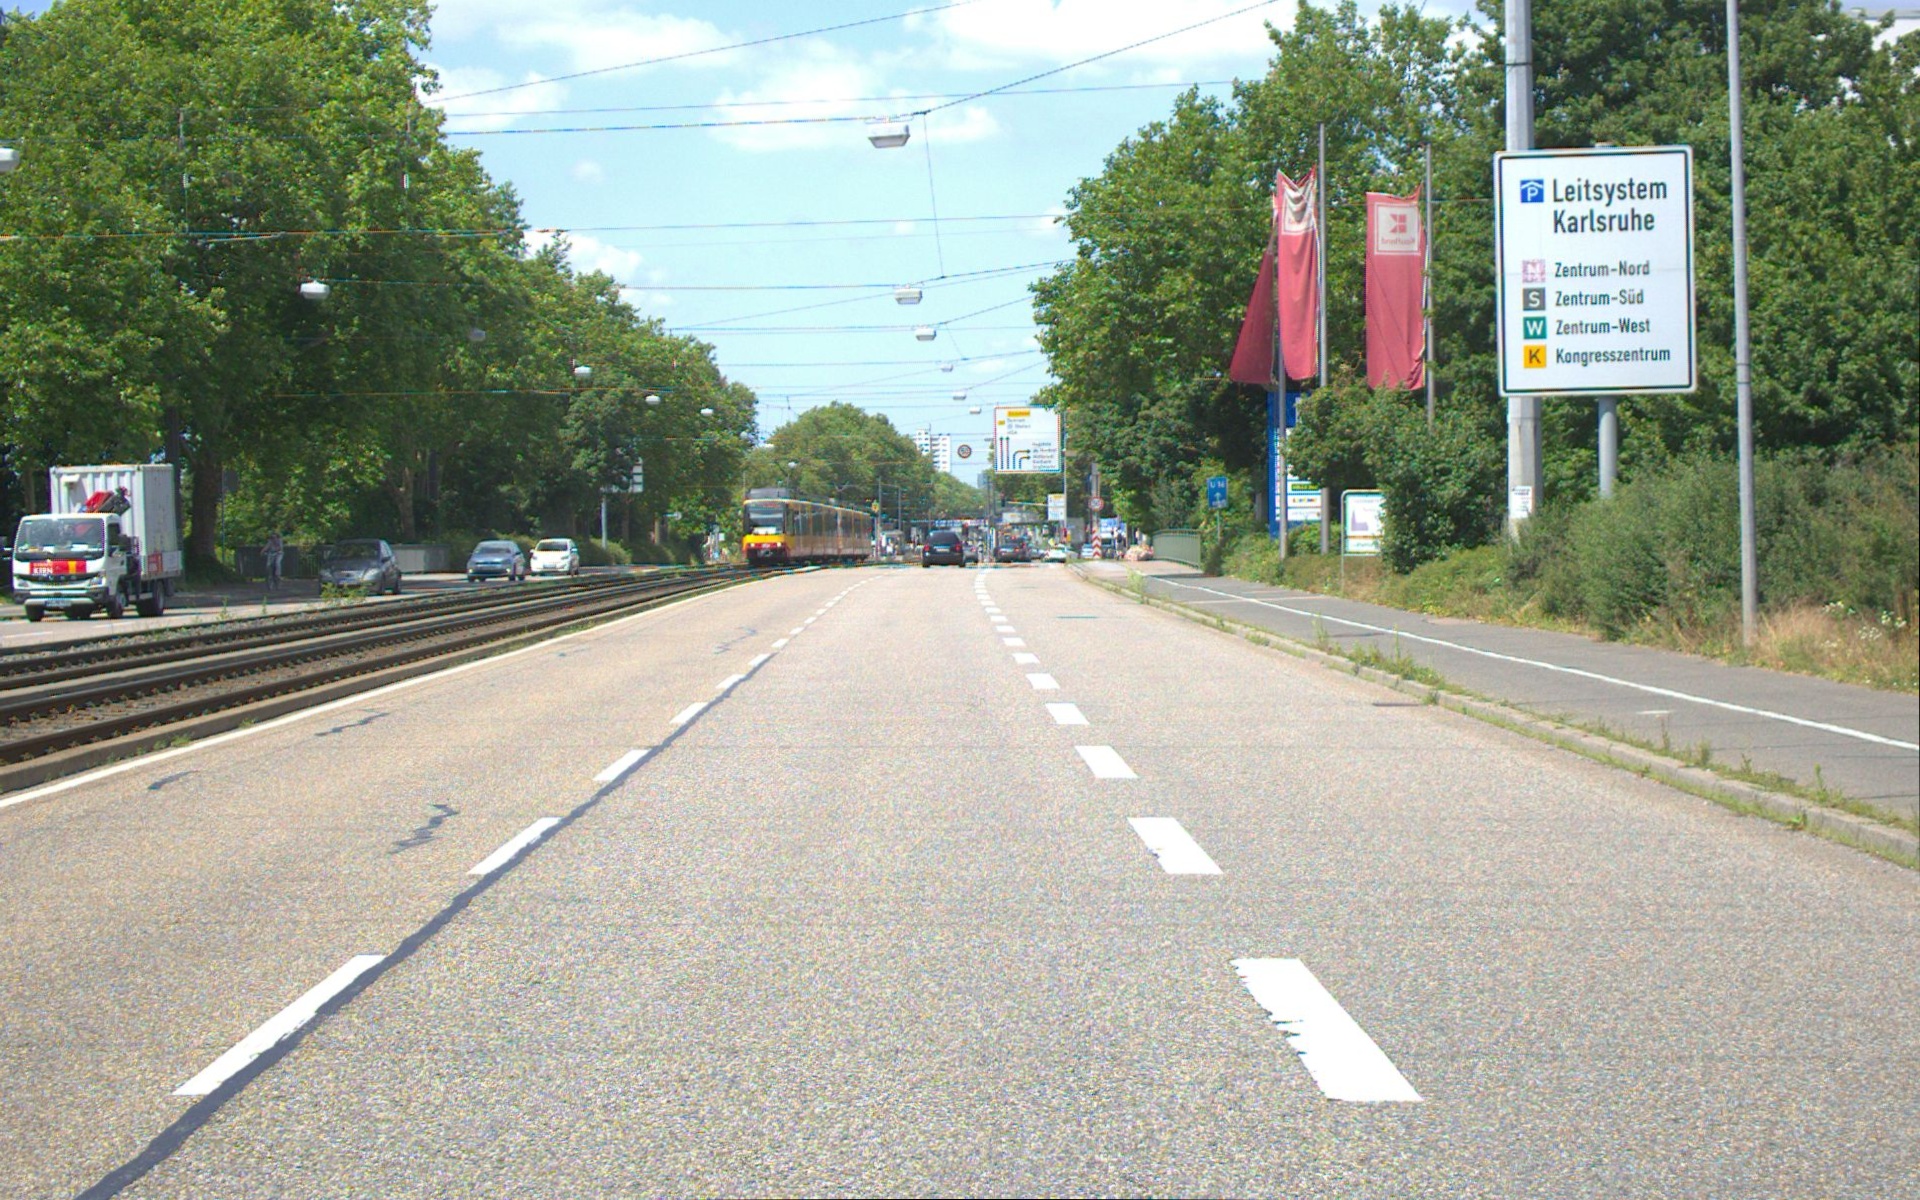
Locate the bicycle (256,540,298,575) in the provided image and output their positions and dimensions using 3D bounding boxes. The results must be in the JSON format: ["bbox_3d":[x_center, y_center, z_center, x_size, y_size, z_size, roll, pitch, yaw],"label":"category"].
[{"bbox_3d":[-20.177,-1.261,101.584,0.623,0.976,2.054,2,1,6],"label":"bicycle"}]

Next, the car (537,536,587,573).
[{"bbox_3d":[-16.184,-1.854,139.903,1.636,1.431,3.722,-2,1,-1],"label":"car"}]

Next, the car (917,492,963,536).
[{"bbox_3d":[-0.872,-3.646,146.619,1.899,1.799,3.977,1,1,-1],"label":"car"}]

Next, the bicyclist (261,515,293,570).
[{"bbox_3d":[-20.151,-1.691,101.456,0.623,1.612,1.062,2,1,6],"label":"bicyclist"}]

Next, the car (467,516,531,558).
[{"bbox_3d":[-16.261,-2.244,121.504,1.636,1.417,4.127,-2,1,0],"label":"car"}]

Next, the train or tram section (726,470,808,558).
[{"bbox_3d":[-9.818,-4.386,176.306,3.048,4.252,15.423,-1,1,1],"label":"train or tram section"}]

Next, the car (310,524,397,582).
[{"bbox_3d":[-16.877,-1.316,95.843,1.752,1.530,3.957,-2,1,-1],"label":"car"}]

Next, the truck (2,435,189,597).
[{"bbox_3d":[-18.095,-1.764,72.282,2.250,3.225,6.042,-1,1,1],"label":"truck"}]
